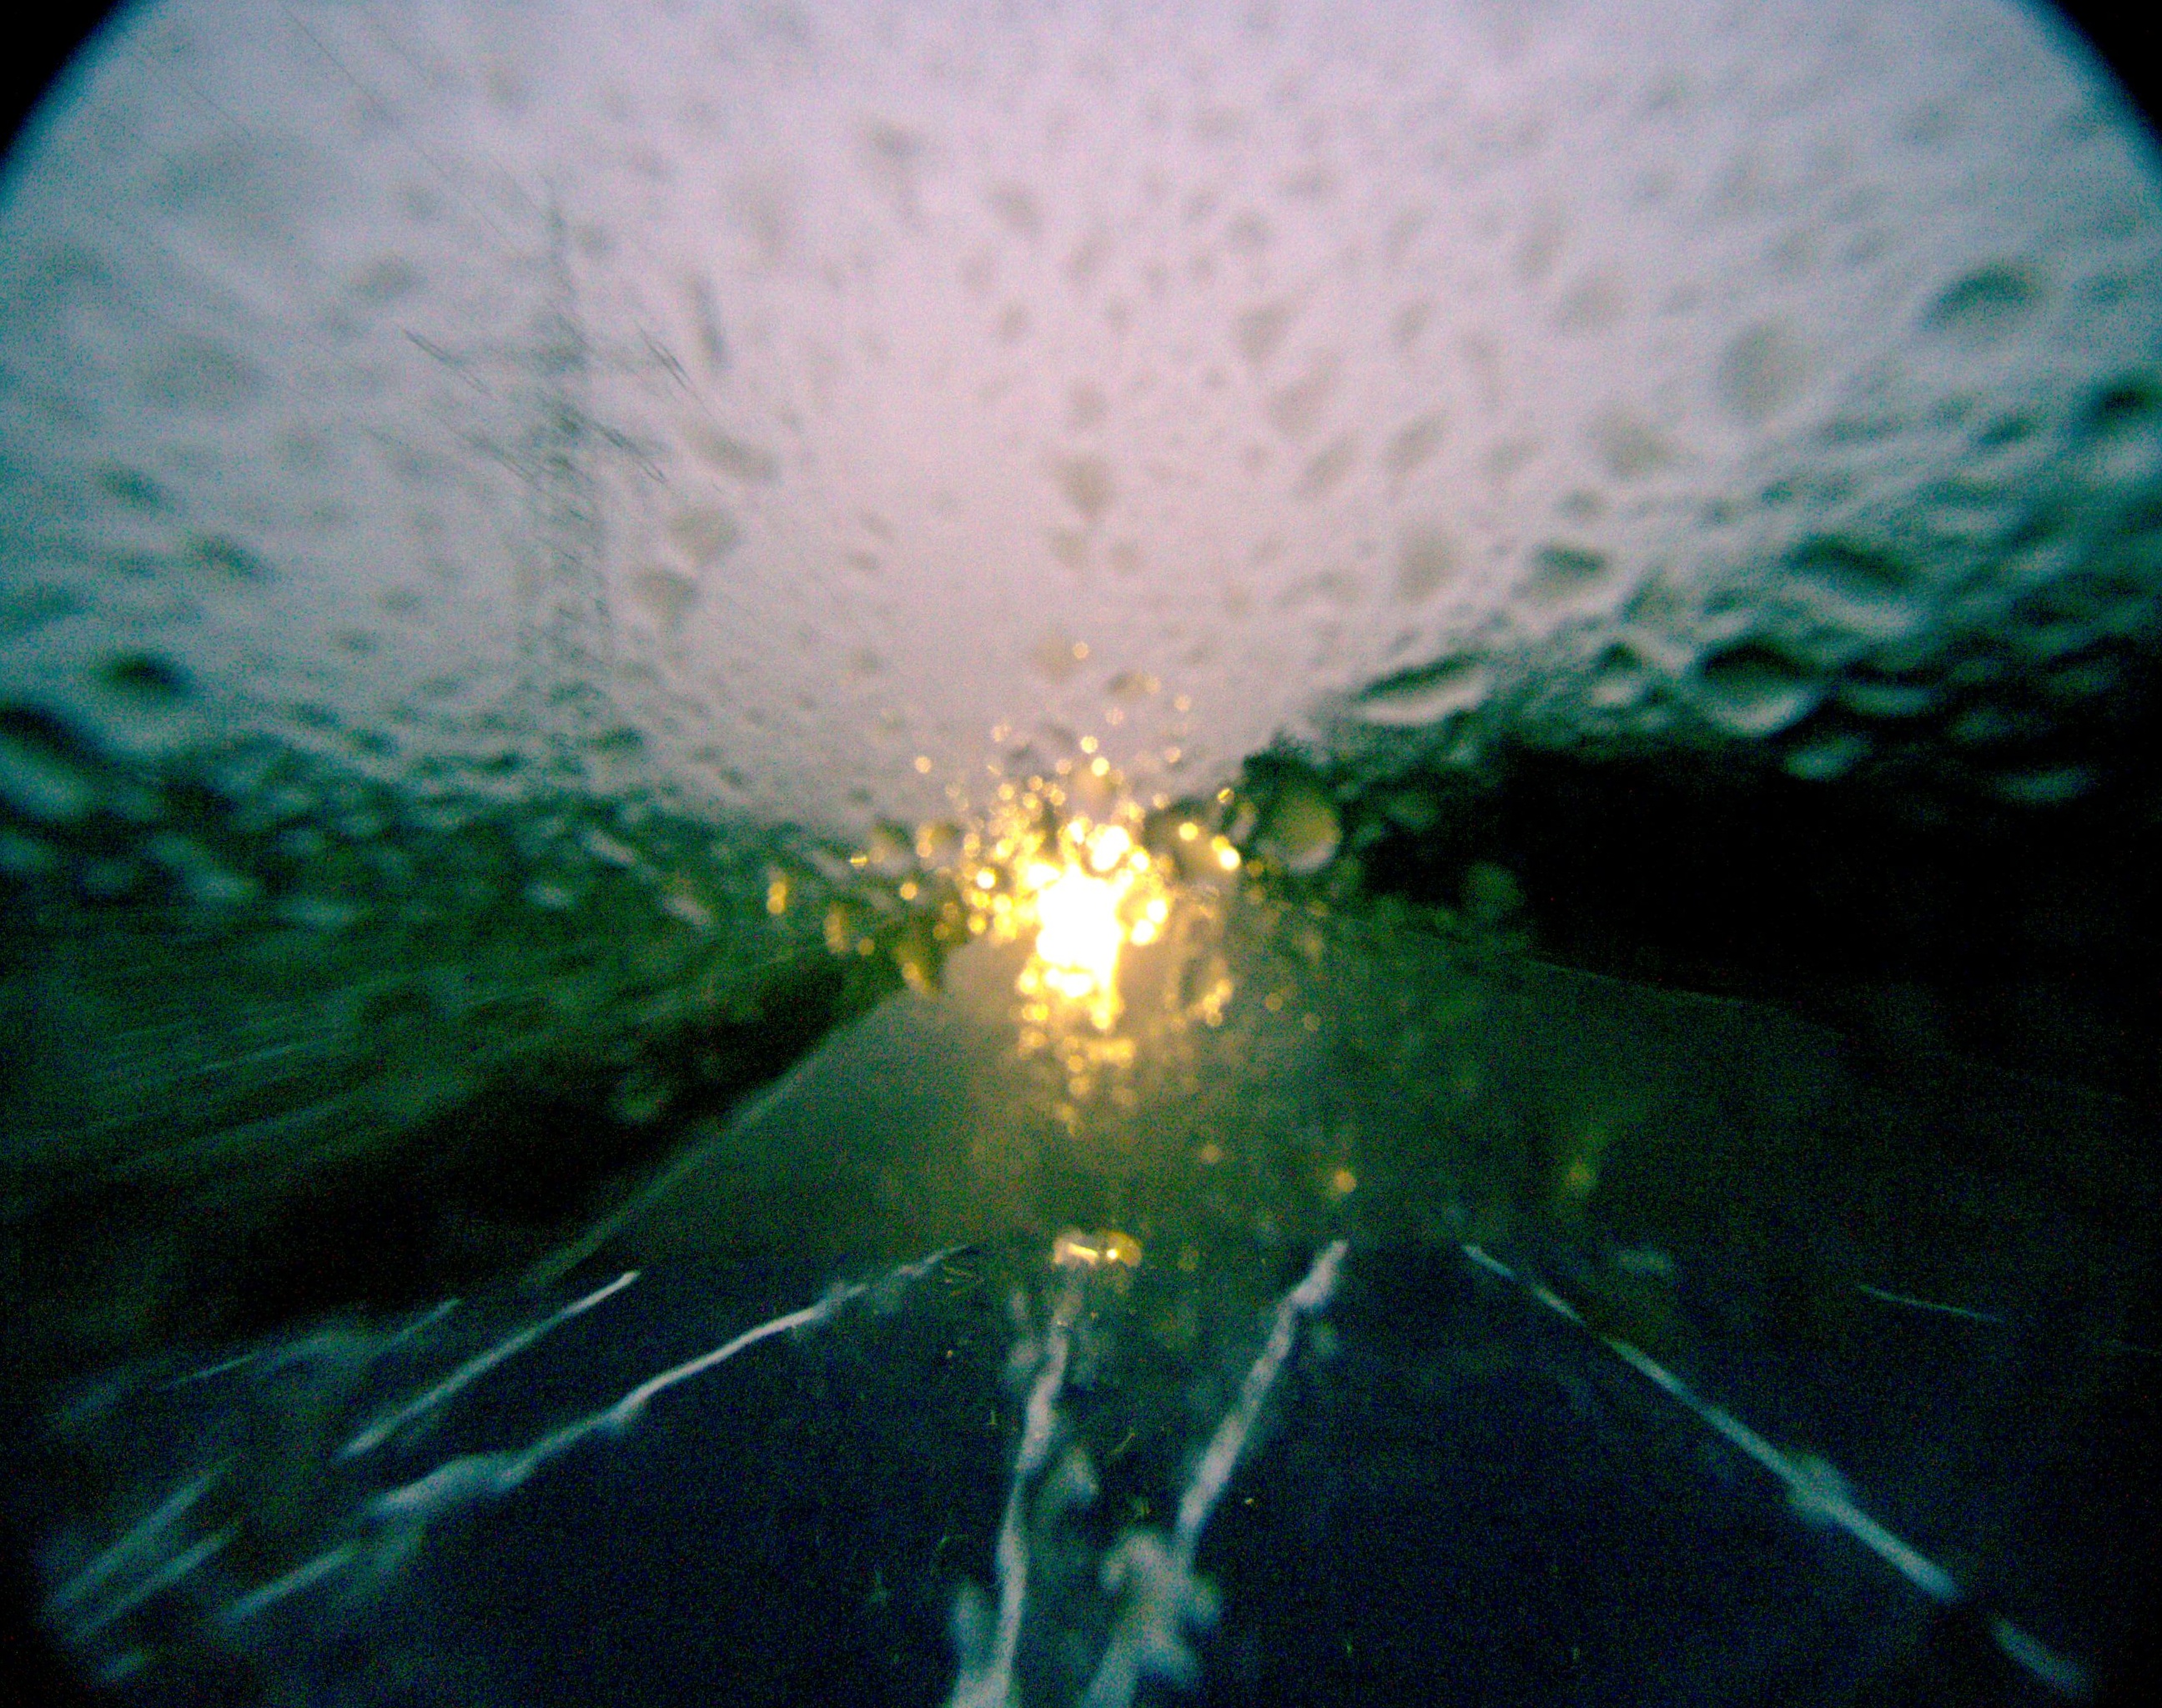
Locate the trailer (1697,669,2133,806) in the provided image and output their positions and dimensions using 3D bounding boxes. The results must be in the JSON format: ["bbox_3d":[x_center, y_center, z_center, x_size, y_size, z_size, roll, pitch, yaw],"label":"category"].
[{"bbox_3d":[26.200,-3.371,25.311,2.442,2.874,11.084,-1,0,1],"label":"trailer"}]

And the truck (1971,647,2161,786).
[{"bbox_3d":[26.140,-3.361,18.493,2.456,2.870,5.583,-1,0,0],"label":"truck"}]

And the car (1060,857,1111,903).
[{"bbox_3d":[0.220,1.050,32.120,1.910,1.653,3.999,-3,1,1],"label":"car"}]
